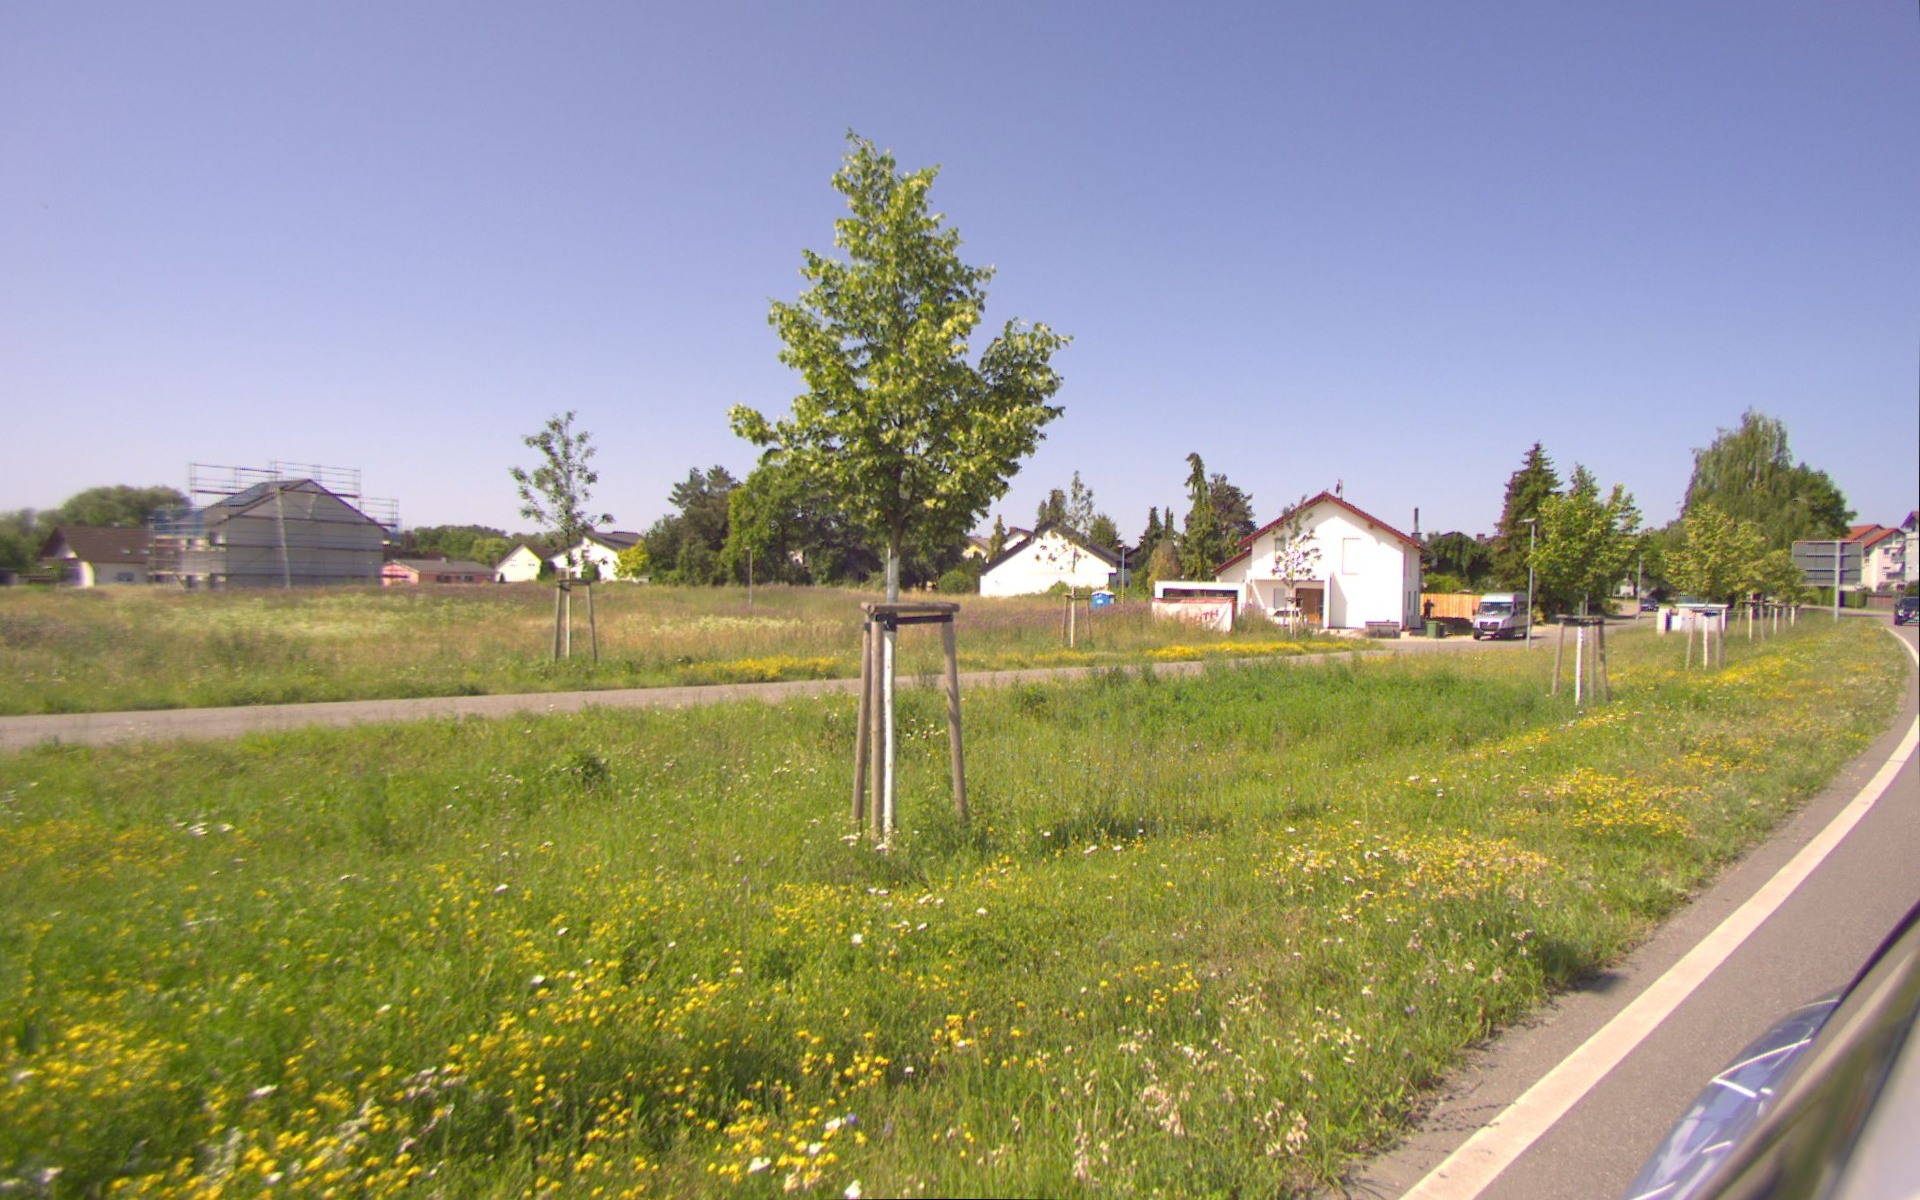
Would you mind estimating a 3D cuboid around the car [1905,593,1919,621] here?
[{"bbox_3d":[55.980,0.431,58.407,1.927,1.581,3.939,2,1,42],"label":"car"}]

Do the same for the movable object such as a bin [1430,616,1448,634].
[{"bbox_3d":[26.512,1.361,56.037,0.628,0.949,0.693,0,0,-43],"label":"movable object such as a bin"}]

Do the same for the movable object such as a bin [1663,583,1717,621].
[{"bbox_3d":[50.538,0.086,69.984,2.315,2.494,6.840,0,1,42],"label":"movable object such as a bin"}]

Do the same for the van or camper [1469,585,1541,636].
[{"bbox_3d":[30.397,0.517,56.347,2.171,2.633,5.939,0,1,42],"label":"van or camper"}]

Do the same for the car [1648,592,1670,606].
[{"bbox_3d":[80.918,-0.141,117.114,1.855,1.463,4.111,-1,0,38],"label":"car"}]

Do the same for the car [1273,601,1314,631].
[{"bbox_3d":[19.175,0.915,58.022,1.549,1.577,4.445,-1,0,27],"label":"car"}]
